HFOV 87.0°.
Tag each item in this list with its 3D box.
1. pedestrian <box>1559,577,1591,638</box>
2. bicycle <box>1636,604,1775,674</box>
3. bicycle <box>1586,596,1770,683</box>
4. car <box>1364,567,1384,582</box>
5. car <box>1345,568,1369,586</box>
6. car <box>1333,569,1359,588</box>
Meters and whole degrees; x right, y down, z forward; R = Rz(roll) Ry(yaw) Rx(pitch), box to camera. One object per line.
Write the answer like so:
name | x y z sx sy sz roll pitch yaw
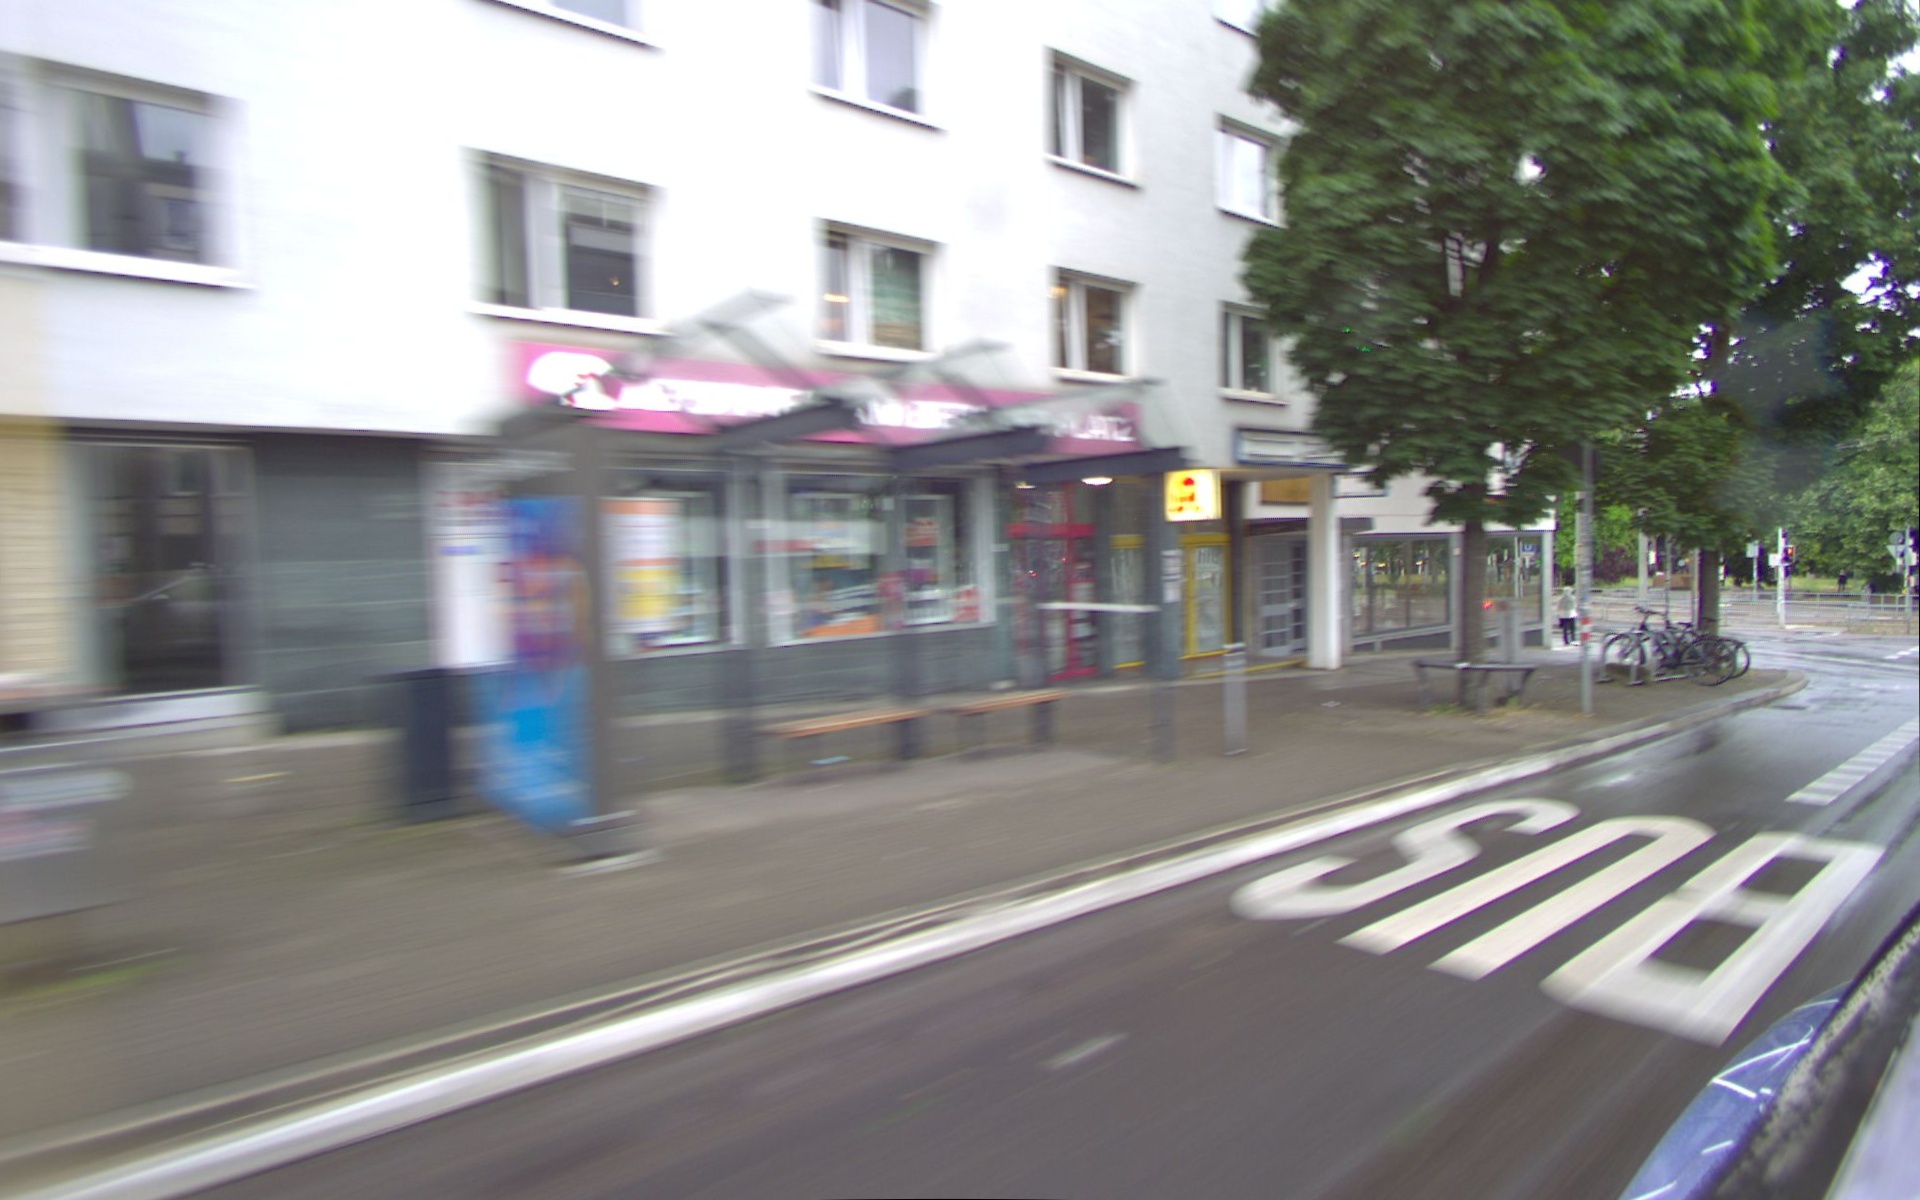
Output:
pedestrian | 17.820 0.203 29.336 0.519 1.733 0.706 -1 1 1
bicycle | 12.881 0.641 17.529 0.637 1.105 1.822 1 1 -37
bicycle | 11.484 0.587 16.285 0.637 1.188 2.323 -2 4 -37
car | 41.971 -2.547 102.580 1.686 1.466 3.508 0 2 27
car | 34.614 -2.013 88.256 1.686 1.466 3.508 0 2 27
car | 31.750 -1.785 83.268 1.686 1.466 3.508 0 2 27
